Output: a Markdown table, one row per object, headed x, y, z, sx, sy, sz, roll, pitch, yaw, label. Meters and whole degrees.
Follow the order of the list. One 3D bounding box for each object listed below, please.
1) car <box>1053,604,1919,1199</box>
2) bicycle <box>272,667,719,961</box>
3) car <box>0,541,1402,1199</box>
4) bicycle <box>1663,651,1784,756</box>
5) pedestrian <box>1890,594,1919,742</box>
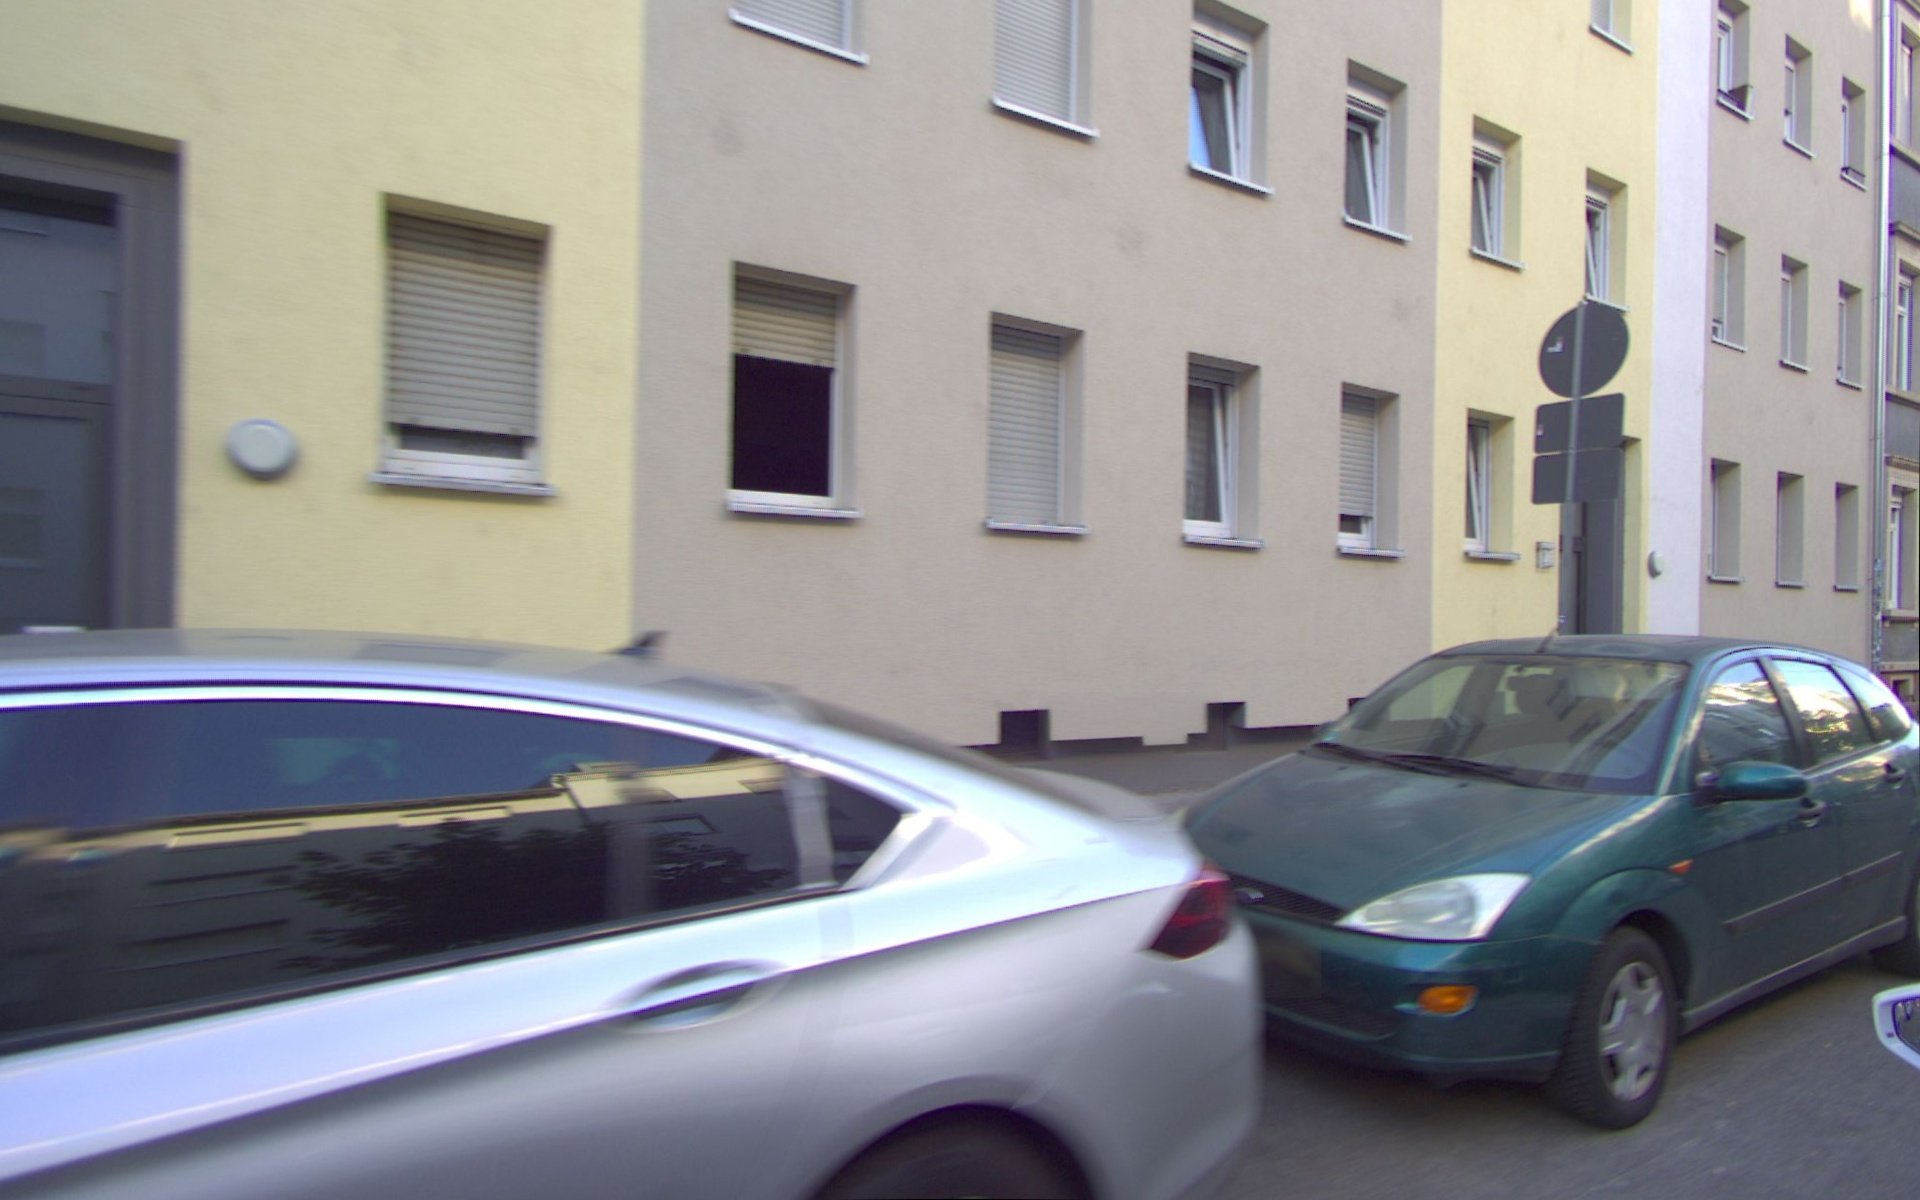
| x | y | z | sx | sy | sz | roll | pitch | yaw | label |
| --- | --- | --- | --- | --- | --- | --- | --- | --- | --- |
| 2.682 | 0.842 | 4.404 | 4.370 | 1.508 | 1.770 | 2 | -2 | -31 | car |
| -2.222 | 0.942 | 4.971 | 1.904 | 1.184 | 0.606 | 2 | -2 | -33 | bicycle |
| -1.522 | 0.722 | 1.695 | 4.565 | 1.508 | 1.913 | 2 | -2 | -31 | car |
| 8.708 | 1.146 | 11.438 | 1.731 | 1.088 | 0.448 | 1 | 0 | -31 | bicycle |
| 12.283 | 0.843 | 12.476 | 1.079 | 1.814 | 0.785 | 1 | -2 | -30 | pedestrian |
